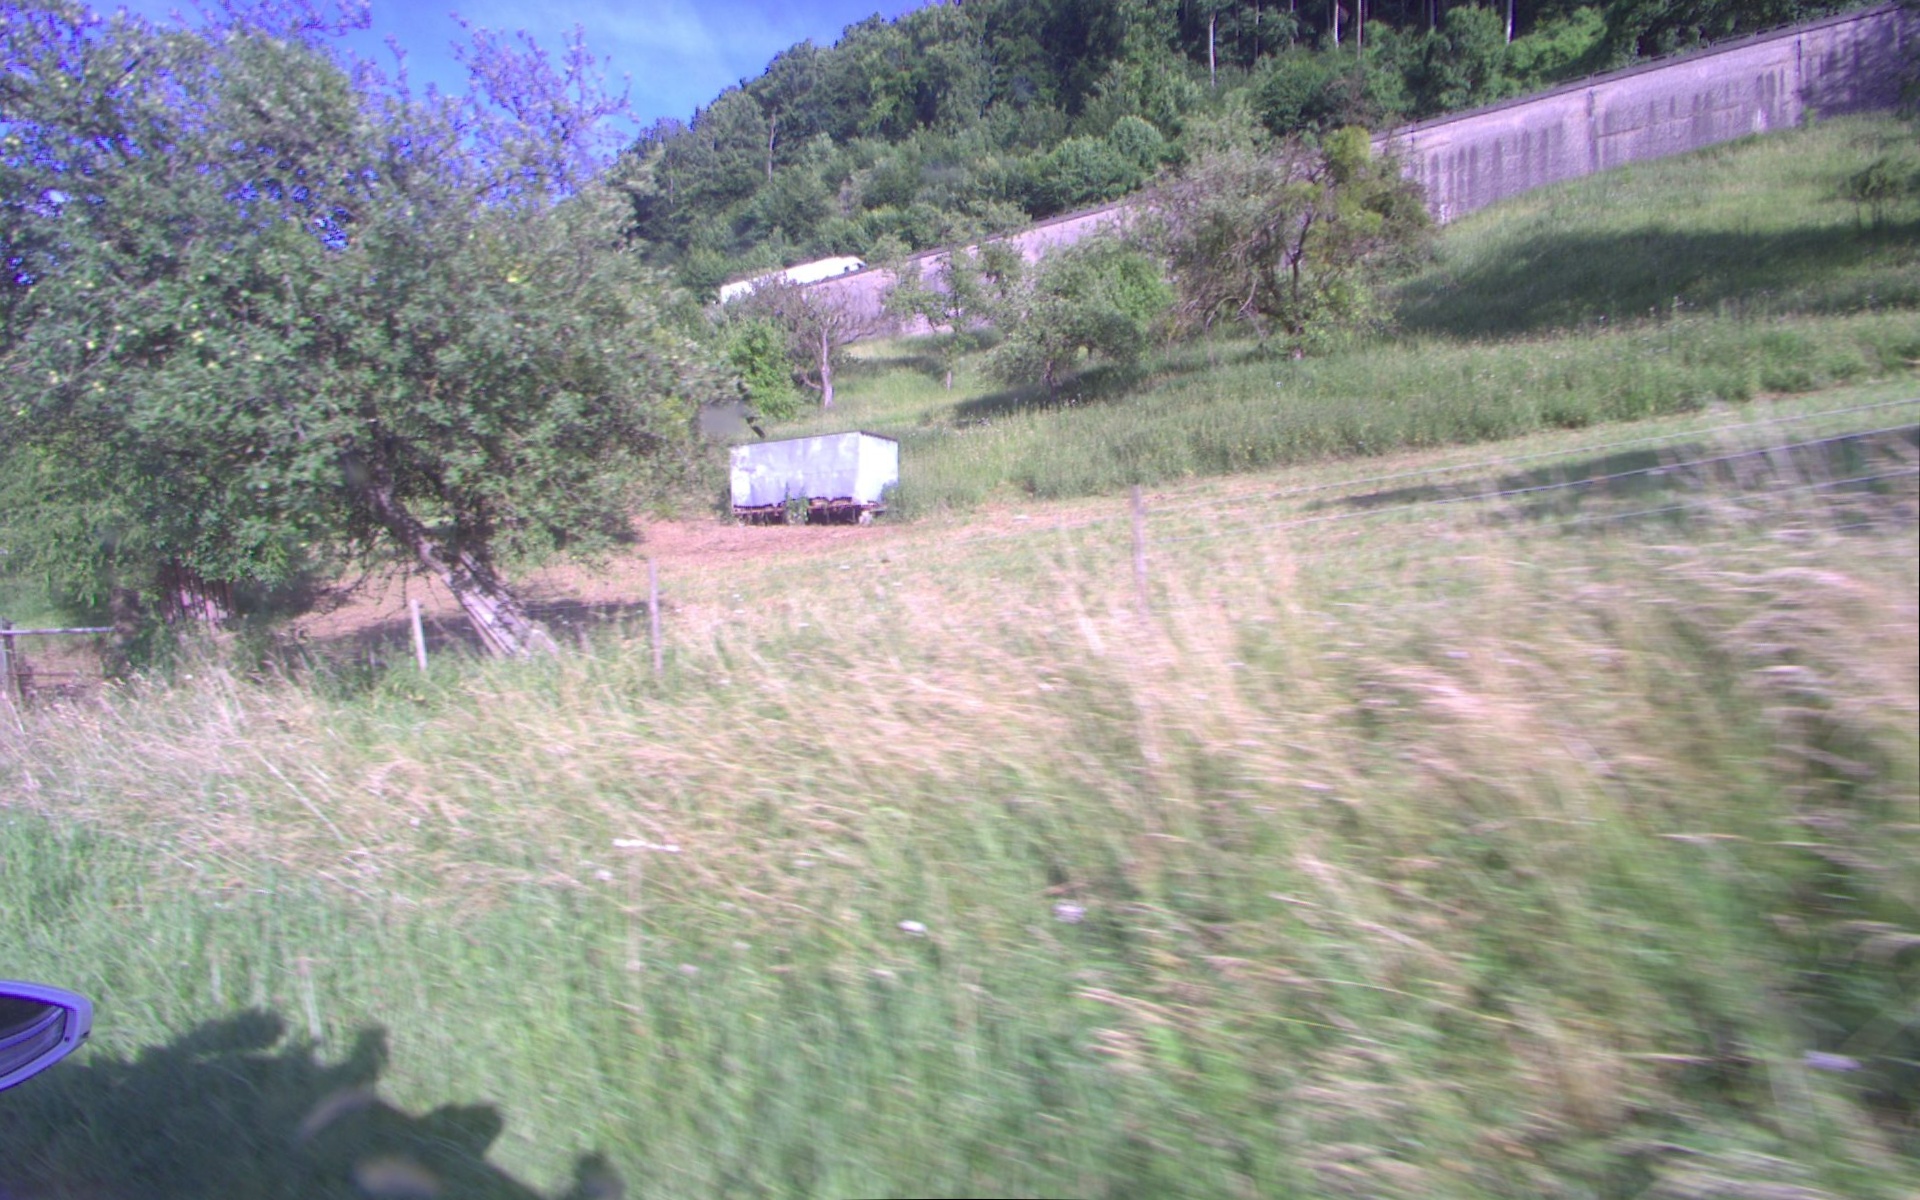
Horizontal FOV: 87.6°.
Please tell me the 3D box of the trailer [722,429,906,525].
[{"bbox_3d":[-4.387,-3.571,29.868,5.163,2.595,2.149,3,4,28],"label":"trailer"}]
